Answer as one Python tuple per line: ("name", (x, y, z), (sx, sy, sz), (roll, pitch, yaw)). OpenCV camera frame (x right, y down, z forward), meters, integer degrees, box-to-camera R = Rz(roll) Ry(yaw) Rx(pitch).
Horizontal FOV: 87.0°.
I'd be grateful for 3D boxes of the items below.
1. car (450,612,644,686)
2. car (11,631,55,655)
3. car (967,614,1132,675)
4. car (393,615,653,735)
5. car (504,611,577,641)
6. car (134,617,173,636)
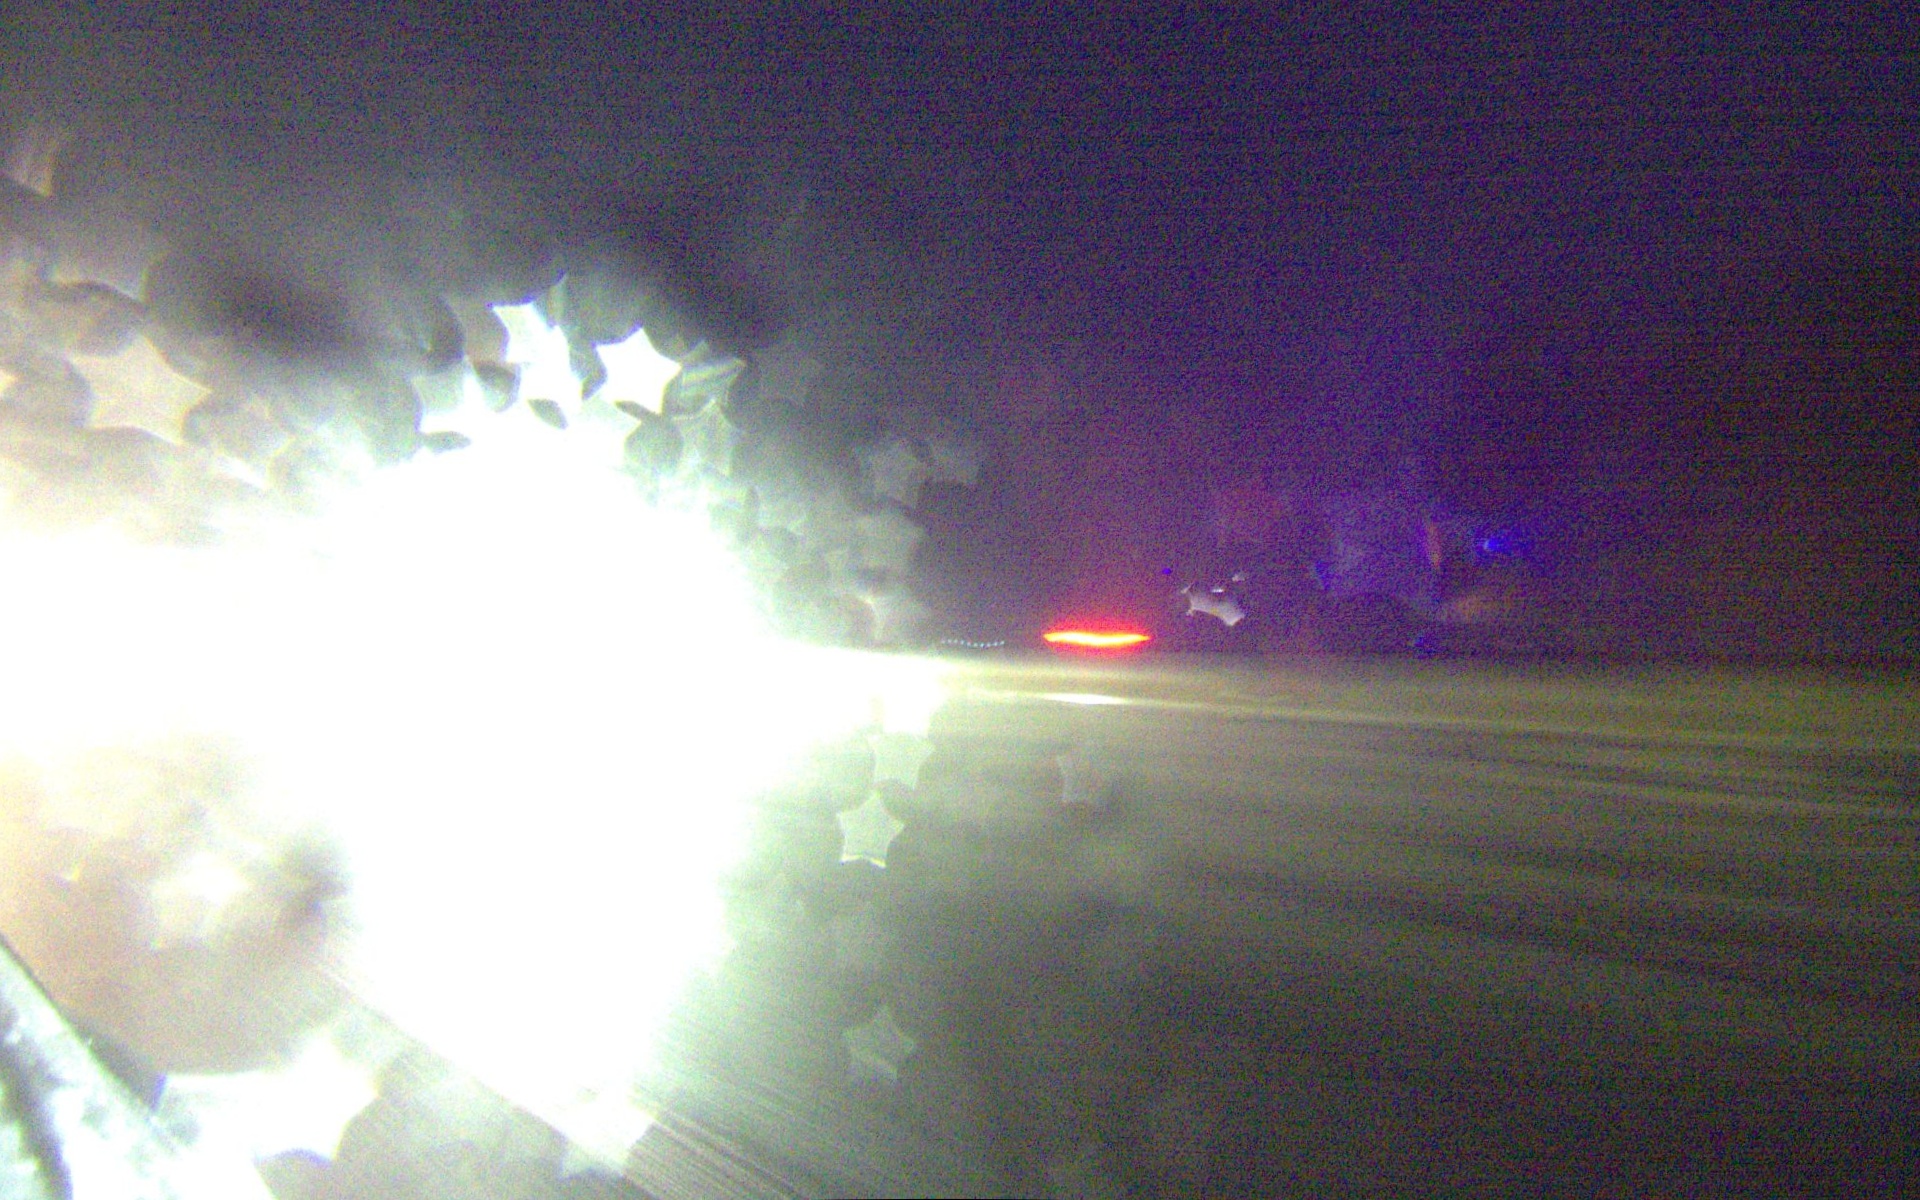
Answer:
("car", (-9.721, 1.056, 23.620), (5.159, 1.487, 1.974), (0, 0, 39))
("car", (-68.922, 3.183, 75.254), (4.586, 1.572, 1.972), (0, 0, 42))
("car", (2.504, 1.201, 29.000), (4.456, 1.569, 1.861), (0, 0, 40))
("car", (-6.427, 0.966, 14.714), (3.998, 1.452, 1.973), (0, 0, 42))
("car", (-23.144, 1.386, 55.759), (4.456, 1.569, 1.861), (0, 0, 40))
("car", (-72.192, 2.348, 90.599), (4.457, 1.569, 1.861), (0, 0, 40))
